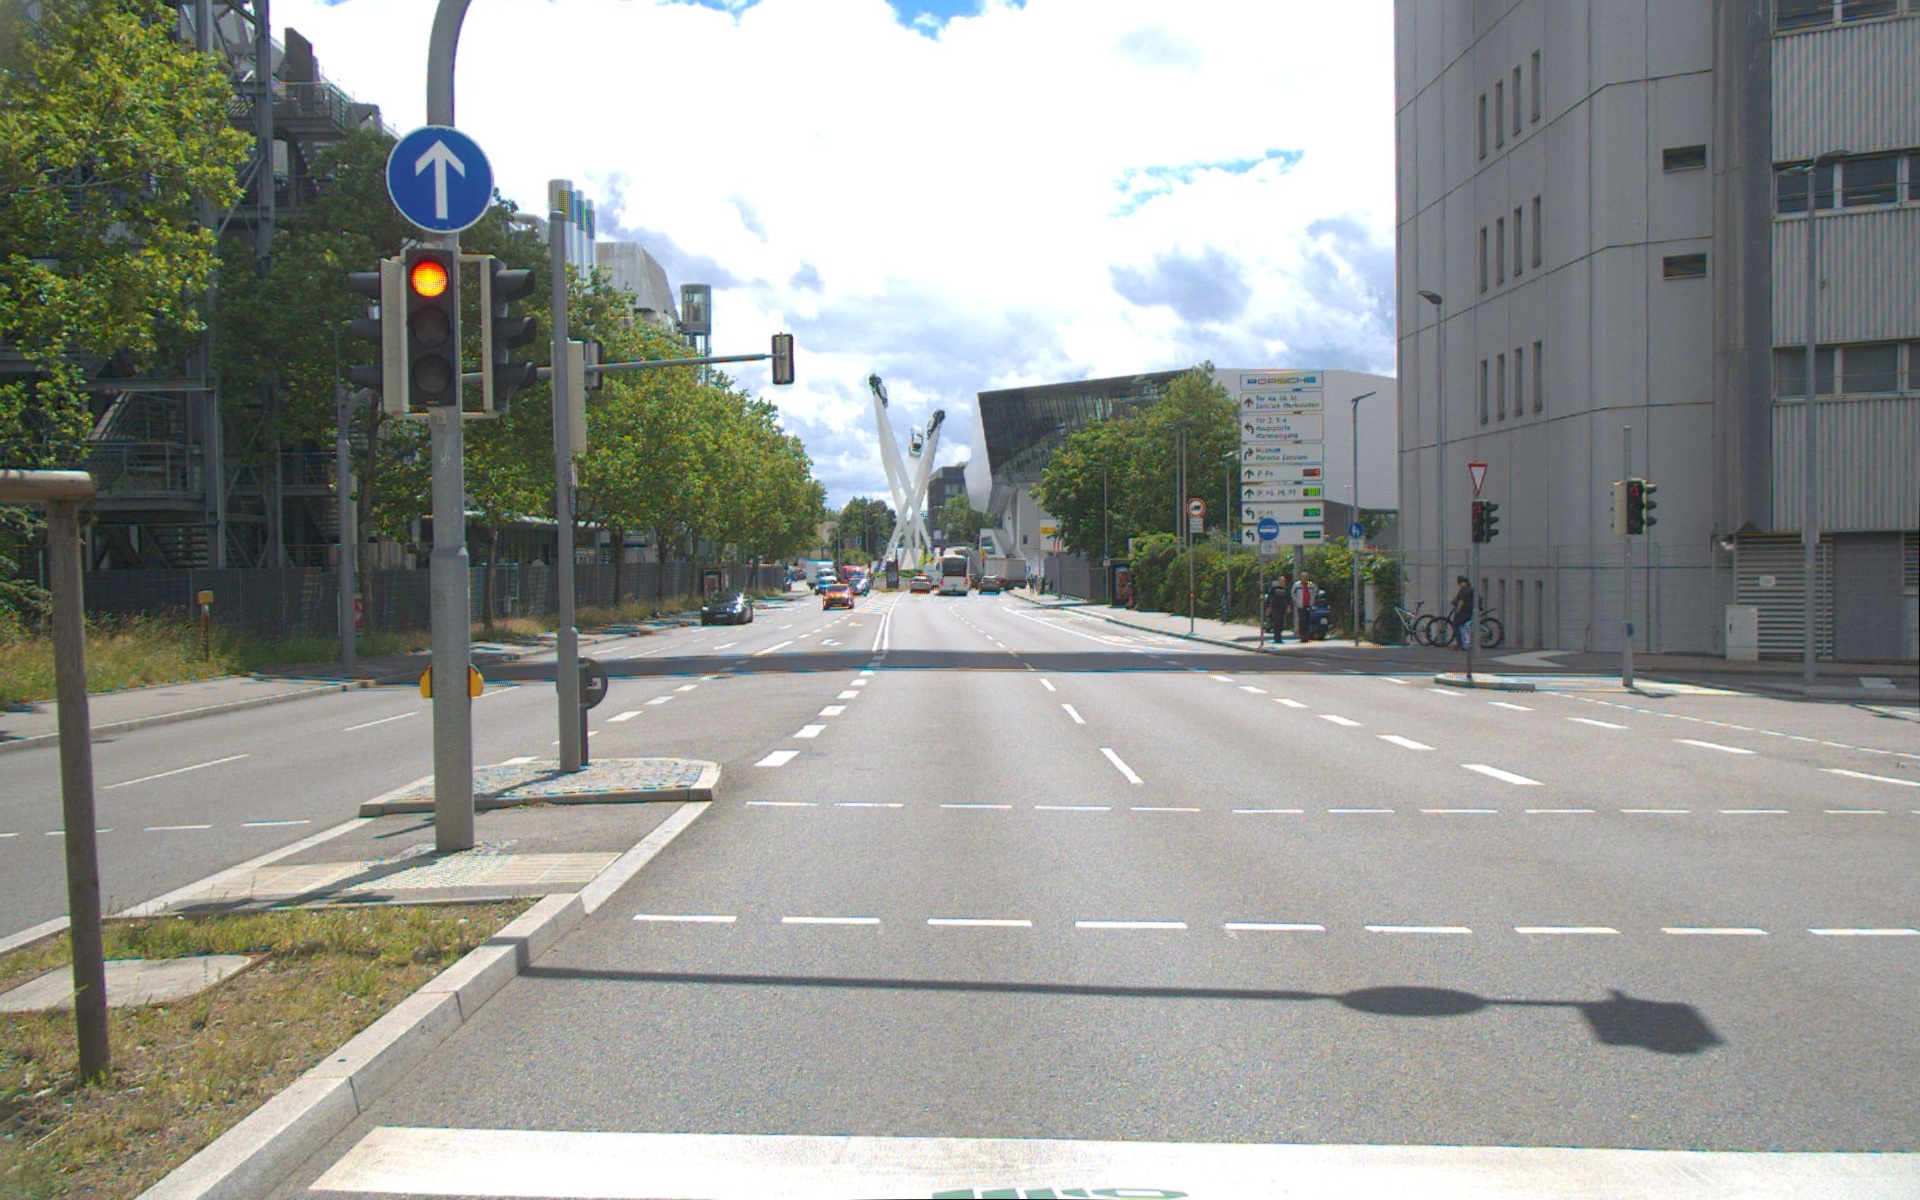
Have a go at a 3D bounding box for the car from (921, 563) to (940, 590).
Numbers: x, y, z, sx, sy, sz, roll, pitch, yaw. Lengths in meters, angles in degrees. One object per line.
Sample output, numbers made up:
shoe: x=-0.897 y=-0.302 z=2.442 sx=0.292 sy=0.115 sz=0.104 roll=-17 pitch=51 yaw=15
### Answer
car: x=-3.064 y=-2.419 z=171.349 sx=1.807 sy=2.669 sz=3.998 roll=1 pitch=0 yaw=-2

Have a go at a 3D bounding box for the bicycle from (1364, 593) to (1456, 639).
bicycle: x=11.149 y=0.386 z=41.025 sx=2.180 sy=1.105 sz=0.475 roll=1 pitch=-1 yaw=35

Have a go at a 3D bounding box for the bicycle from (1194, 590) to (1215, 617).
bicycle: x=9.665 y=0.154 z=65.401 sx=0.410 sy=1.040 sz=1.910 roll=1 pitch=0 yaw=-5

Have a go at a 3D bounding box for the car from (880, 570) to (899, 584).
car: x=-6.619 y=-2.158 z=155.557 sx=1.525 sy=1.295 sz=3.701 roll=-2 pitch=0 yaw=0

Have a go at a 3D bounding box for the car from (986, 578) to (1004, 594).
car: x=3.061 y=-1.248 z=146.281 sx=1.525 sy=1.295 sz=3.701 roll=-2 pitch=0 yaw=1

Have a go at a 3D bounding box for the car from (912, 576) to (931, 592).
car: x=-3.408 y=-1.423 z=148.392 sx=1.525 sy=1.295 sz=3.701 roll=-2 pitch=0 yaw=1

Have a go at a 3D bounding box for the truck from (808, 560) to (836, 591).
truck: x=-15.938 y=-2.809 z=191.642 sx=2.538 sy=3.382 sz=7.078 roll=1 pitch=0 yaw=0

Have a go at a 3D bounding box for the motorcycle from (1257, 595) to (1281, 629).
motorcycle: x=9.736 y=0.369 z=52.141 sx=0.448 sy=1.040 sz=1.913 roll=1 pitch=0 yaw=1

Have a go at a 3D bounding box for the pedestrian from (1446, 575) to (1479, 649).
pedestrian: x=11.565 y=0.277 z=38.055 sx=0.643 sy=1.669 sz=0.534 roll=1 pitch=-1 yaw=27

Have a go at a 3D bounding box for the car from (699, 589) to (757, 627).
car: x=-10.276 y=0.324 z=73.608 sx=1.878 sy=1.514 sz=4.772 roll=-2 pitch=0 yaw=0

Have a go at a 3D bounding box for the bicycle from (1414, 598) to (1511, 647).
bicycle: x=11.824 y=0.528 z=38.946 sx=2.149 sy=1.105 sz=0.475 roll=1 pitch=-1 yaw=35

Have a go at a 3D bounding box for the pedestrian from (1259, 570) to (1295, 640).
pedestrian: x=8.431 y=0.130 z=44.012 sx=0.631 sy=1.825 sz=0.709 roll=-3 pitch=1 yaw=-16

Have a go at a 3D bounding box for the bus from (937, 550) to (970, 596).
bus: x=-0.568 y=-2.247 z=142.324 sx=2.730 sy=3.750 sz=6.942 roll=1 pitch=0 yaw=0

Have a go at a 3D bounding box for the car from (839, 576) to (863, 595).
car: x=-8.978 y=-1.184 z=136.323 sx=1.733 sy=1.445 sz=3.701 roll=-2 pitch=0 yaw=0

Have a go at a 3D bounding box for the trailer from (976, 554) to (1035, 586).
trailer: x=4.849 y=-3.085 z=172.233 sx=3.250 sy=3.047 sz=10.380 roll=1 pitch=0 yaw=18

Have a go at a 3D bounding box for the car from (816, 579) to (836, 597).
car: x=-12.543 y=-1.131 z=154.890 sx=1.761 sy=1.601 sz=3.998 roll=0 pitch=0 yaw=-2

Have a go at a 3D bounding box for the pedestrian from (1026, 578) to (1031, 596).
pedestrian: x=5.731 y=-1.100 z=138.046 sx=0.378 sy=1.446 sz=0.423 roll=1 pitch=-1 yaw=0

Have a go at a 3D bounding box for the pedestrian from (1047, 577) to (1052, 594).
pedestrian: x=7.477 y=-1.214 z=138.845 sx=0.378 sy=1.446 sz=0.423 roll=1 pitch=-1 yaw=0

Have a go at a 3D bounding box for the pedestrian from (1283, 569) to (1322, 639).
pedestrian: x=9.117 y=0.107 z=44.047 sx=0.680 sy=1.825 sz=0.709 roll=-3 pitch=1 yaw=-16

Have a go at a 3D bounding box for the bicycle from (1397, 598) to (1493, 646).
bicycle: x=11.635 y=0.528 z=39.700 sx=2.180 sy=1.105 sz=0.475 roll=1 pitch=-1 yaw=35

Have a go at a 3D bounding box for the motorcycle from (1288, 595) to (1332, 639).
motorcycle: x=9.544 y=0.451 z=45.154 sx=0.410 sy=1.186 sz=1.951 roll=1 pitch=0 yaw=-11

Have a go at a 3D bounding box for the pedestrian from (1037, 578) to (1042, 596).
pedestrian: x=6.590 y=-1.066 z=137.450 sx=0.378 sy=1.446 sz=0.423 roll=1 pitch=-1 yaw=0

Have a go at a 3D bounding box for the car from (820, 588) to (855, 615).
car: x=-7.122 y=0.064 z=96.560 sx=1.733 sy=1.445 sz=3.701 roll=-2 pitch=0 yaw=0
